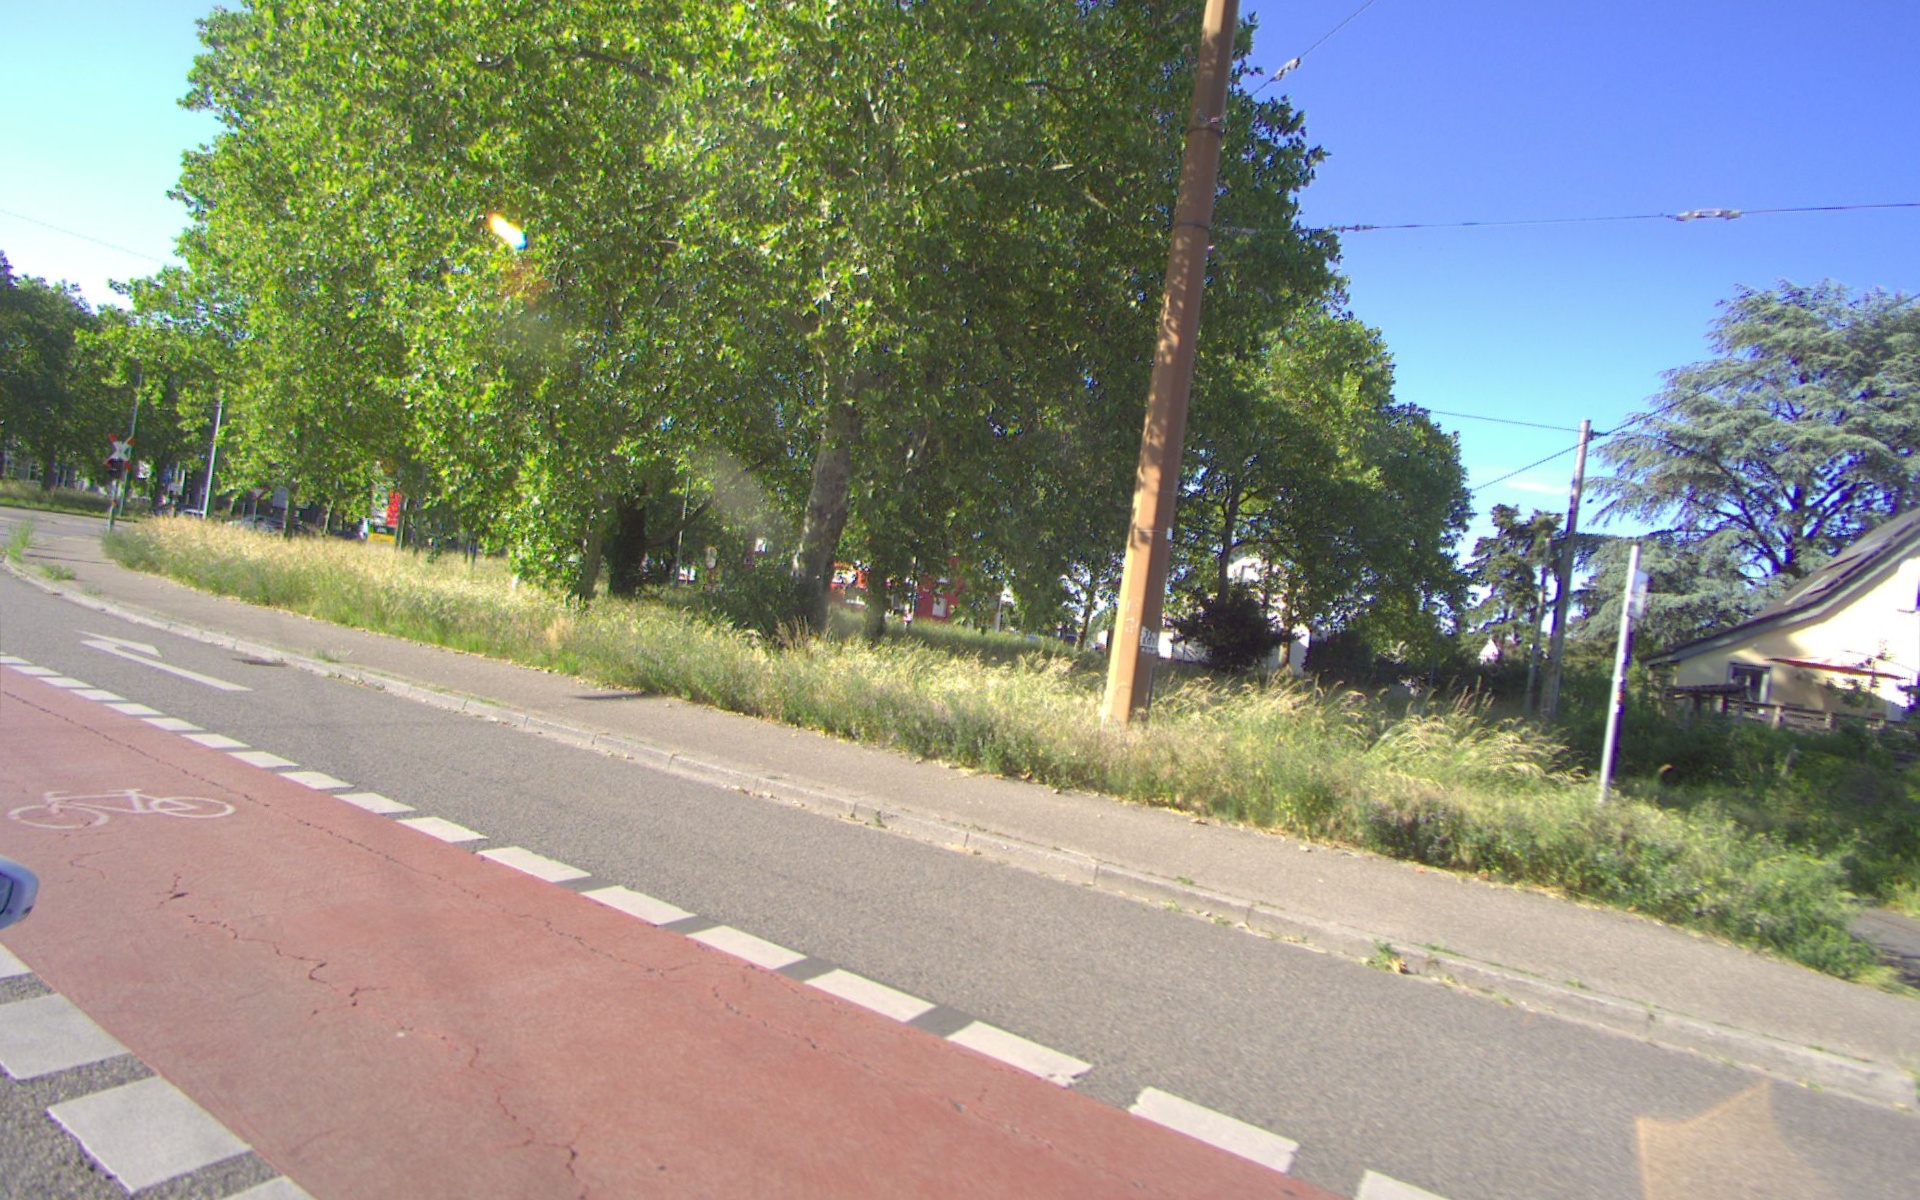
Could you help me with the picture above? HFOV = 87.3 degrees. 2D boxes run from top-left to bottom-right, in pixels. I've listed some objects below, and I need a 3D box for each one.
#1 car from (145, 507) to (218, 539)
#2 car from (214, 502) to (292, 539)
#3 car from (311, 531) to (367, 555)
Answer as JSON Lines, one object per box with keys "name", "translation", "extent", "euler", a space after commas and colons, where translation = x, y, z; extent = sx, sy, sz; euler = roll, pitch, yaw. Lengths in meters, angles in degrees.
{"name": "car", "translation": [-59.012, -5.827, 76.297], "extent": [1.845, 1.595, 4.007], "euler": [8, -3, 11]}
{"name": "car", "translation": [-55.242, -6.191, 78.754], "extent": [1.962, 2.037, 4.908], "euler": [8, -1, 9]}
{"name": "car", "translation": [-56.897, -5.217, 92.268], "extent": [1.661, 1.593, 4.528], "euler": [8, -1, 10]}
